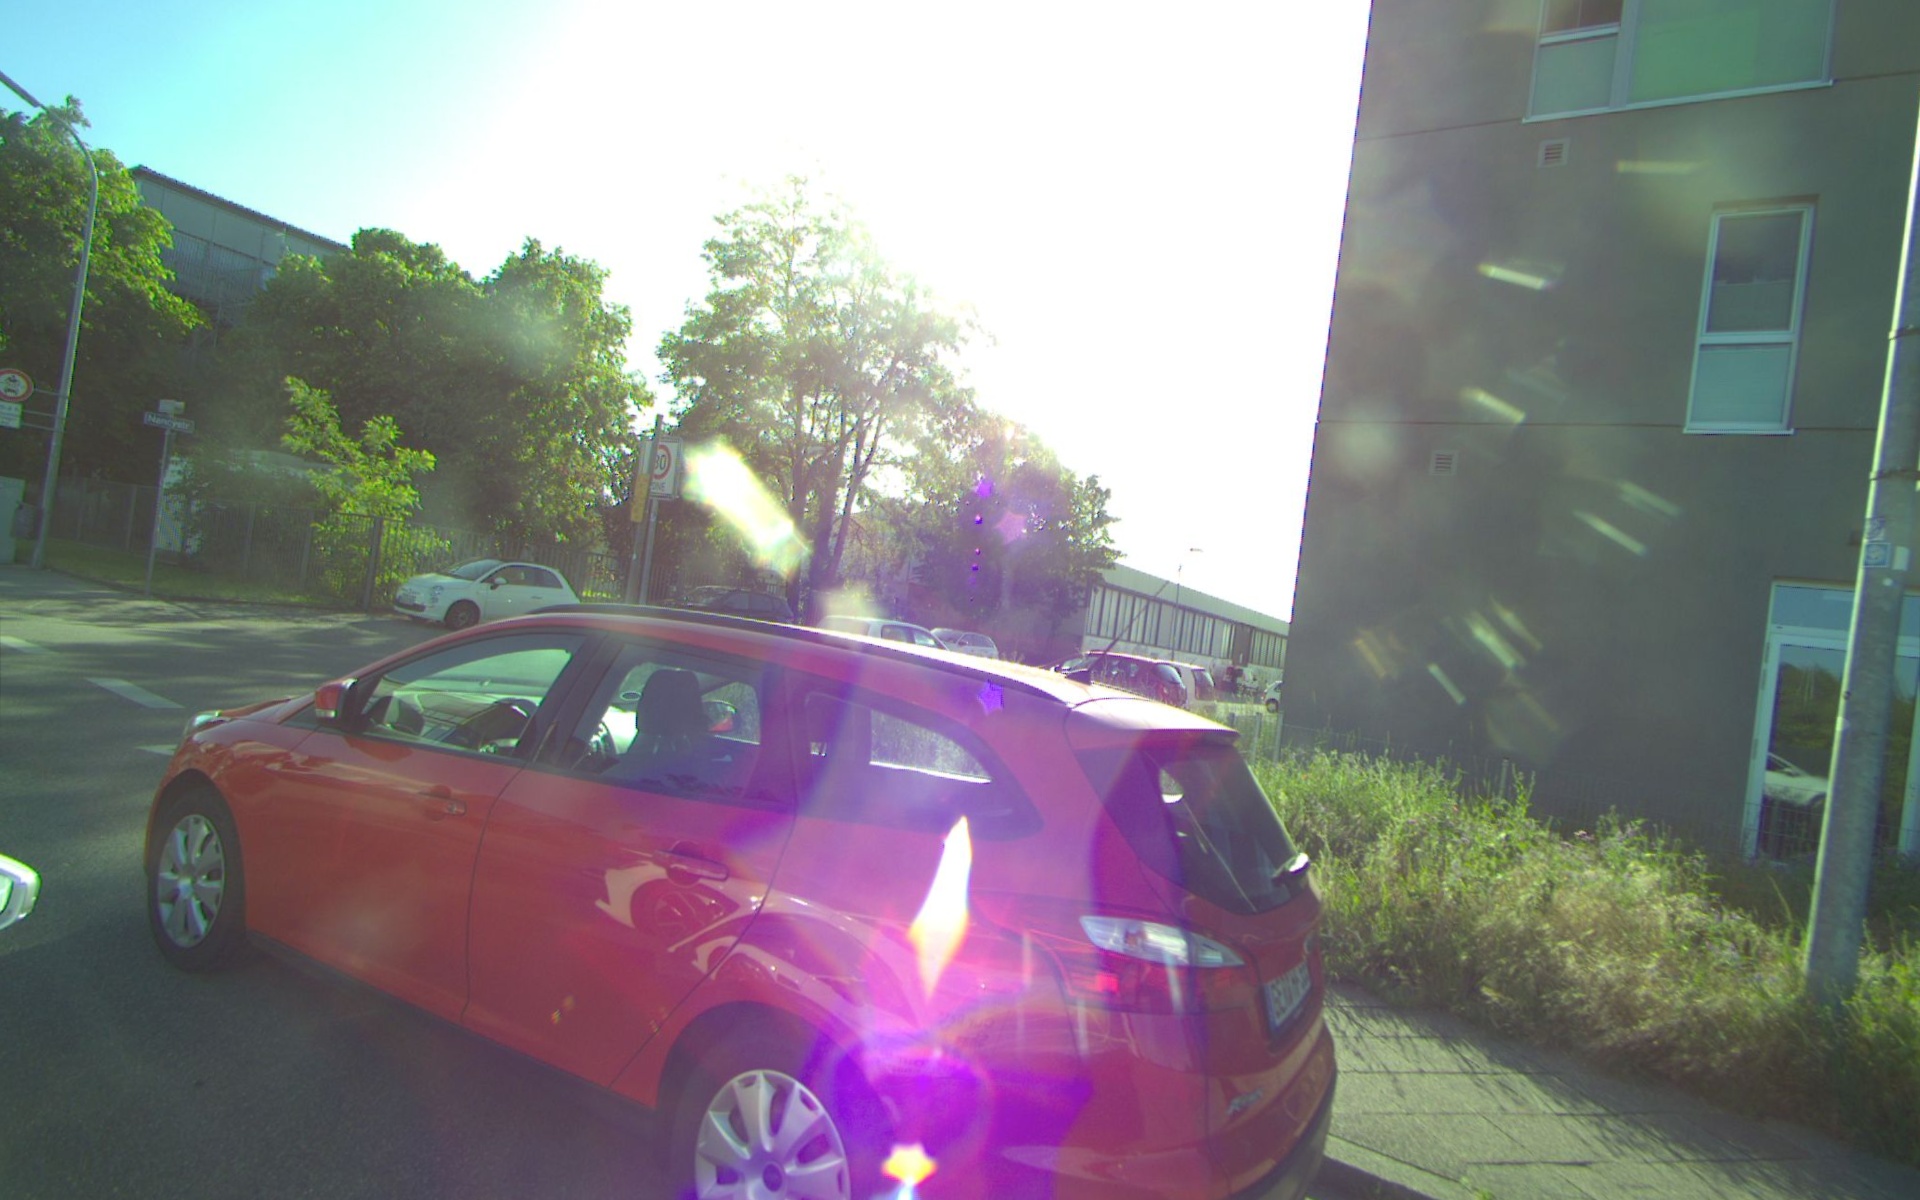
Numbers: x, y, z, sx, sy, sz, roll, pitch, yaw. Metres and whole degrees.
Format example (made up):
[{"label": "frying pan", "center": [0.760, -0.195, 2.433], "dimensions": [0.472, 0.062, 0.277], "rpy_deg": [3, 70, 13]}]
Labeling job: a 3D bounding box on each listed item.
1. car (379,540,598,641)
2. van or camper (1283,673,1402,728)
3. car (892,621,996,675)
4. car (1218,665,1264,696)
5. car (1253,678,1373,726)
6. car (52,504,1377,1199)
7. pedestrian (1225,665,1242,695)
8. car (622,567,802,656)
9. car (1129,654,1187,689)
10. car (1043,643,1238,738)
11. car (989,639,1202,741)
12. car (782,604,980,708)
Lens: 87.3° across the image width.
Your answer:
[{"label": "car", "center": [-9.292, -0.132, 20.089], "dimensions": [1.574, 1.503, 3.553], "rpy_deg": [7, -2, 32]}, {"label": "van or camper", "center": [19.548, 5.117, 51.526], "dimensions": [5.211, 1.981, 1.996], "rpy_deg": [7, -1, 34]}, {"label": "car", "center": [-0.489, 1.689, 34.657], "dimensions": [1.682, 1.453, 3.997], "rpy_deg": [7, -2, 29]}, {"label": "car", "center": [18.426, 5.283, 65.783], "dimensions": [1.683, 1.688, 3.995], "rpy_deg": [7, -2, 32]}, {"label": "car", "center": [15.447, 4.441, 44.086], "dimensions": [4.524, 1.365, 1.998], "rpy_deg": [7, -1, 31]}, {"label": "car", "center": [-1.071, 0.714, 3.557], "dimensions": [4.377, 1.516, 1.823], "rpy_deg": [7, -2, 30]}, {"label": "pedestrian", "center": [16.295, 4.794, 59.998], "dimensions": [0.657, 1.681, 0.486], "rpy_deg": [7, 0, 31]}, {"label": "car", "center": [-6.009, 0.338, 24.890], "dimensions": [1.726, 1.656, 4.160], "rpy_deg": [7, -2, 32]}, {"label": "car", "center": [10.333, 3.756, 52.378], "dimensions": [1.682, 1.453, 3.997], "rpy_deg": [7, -2, 29]}, {"label": "car", "center": [4.123, 2.045, 23.144], "dimensions": [3.933, 1.538, 1.696], "rpy_deg": [7, -1, 31]}, {"label": "car", "center": [2.794, 1.838, 21.045], "dimensions": [3.933, 1.488, 1.696], "rpy_deg": [7, -1, 31]}, {"label": "car", "center": [-1.341, 1.051, 18.183], "dimensions": [1.688, 1.475, 3.329], "rpy_deg": [7, -2, 36]}]
